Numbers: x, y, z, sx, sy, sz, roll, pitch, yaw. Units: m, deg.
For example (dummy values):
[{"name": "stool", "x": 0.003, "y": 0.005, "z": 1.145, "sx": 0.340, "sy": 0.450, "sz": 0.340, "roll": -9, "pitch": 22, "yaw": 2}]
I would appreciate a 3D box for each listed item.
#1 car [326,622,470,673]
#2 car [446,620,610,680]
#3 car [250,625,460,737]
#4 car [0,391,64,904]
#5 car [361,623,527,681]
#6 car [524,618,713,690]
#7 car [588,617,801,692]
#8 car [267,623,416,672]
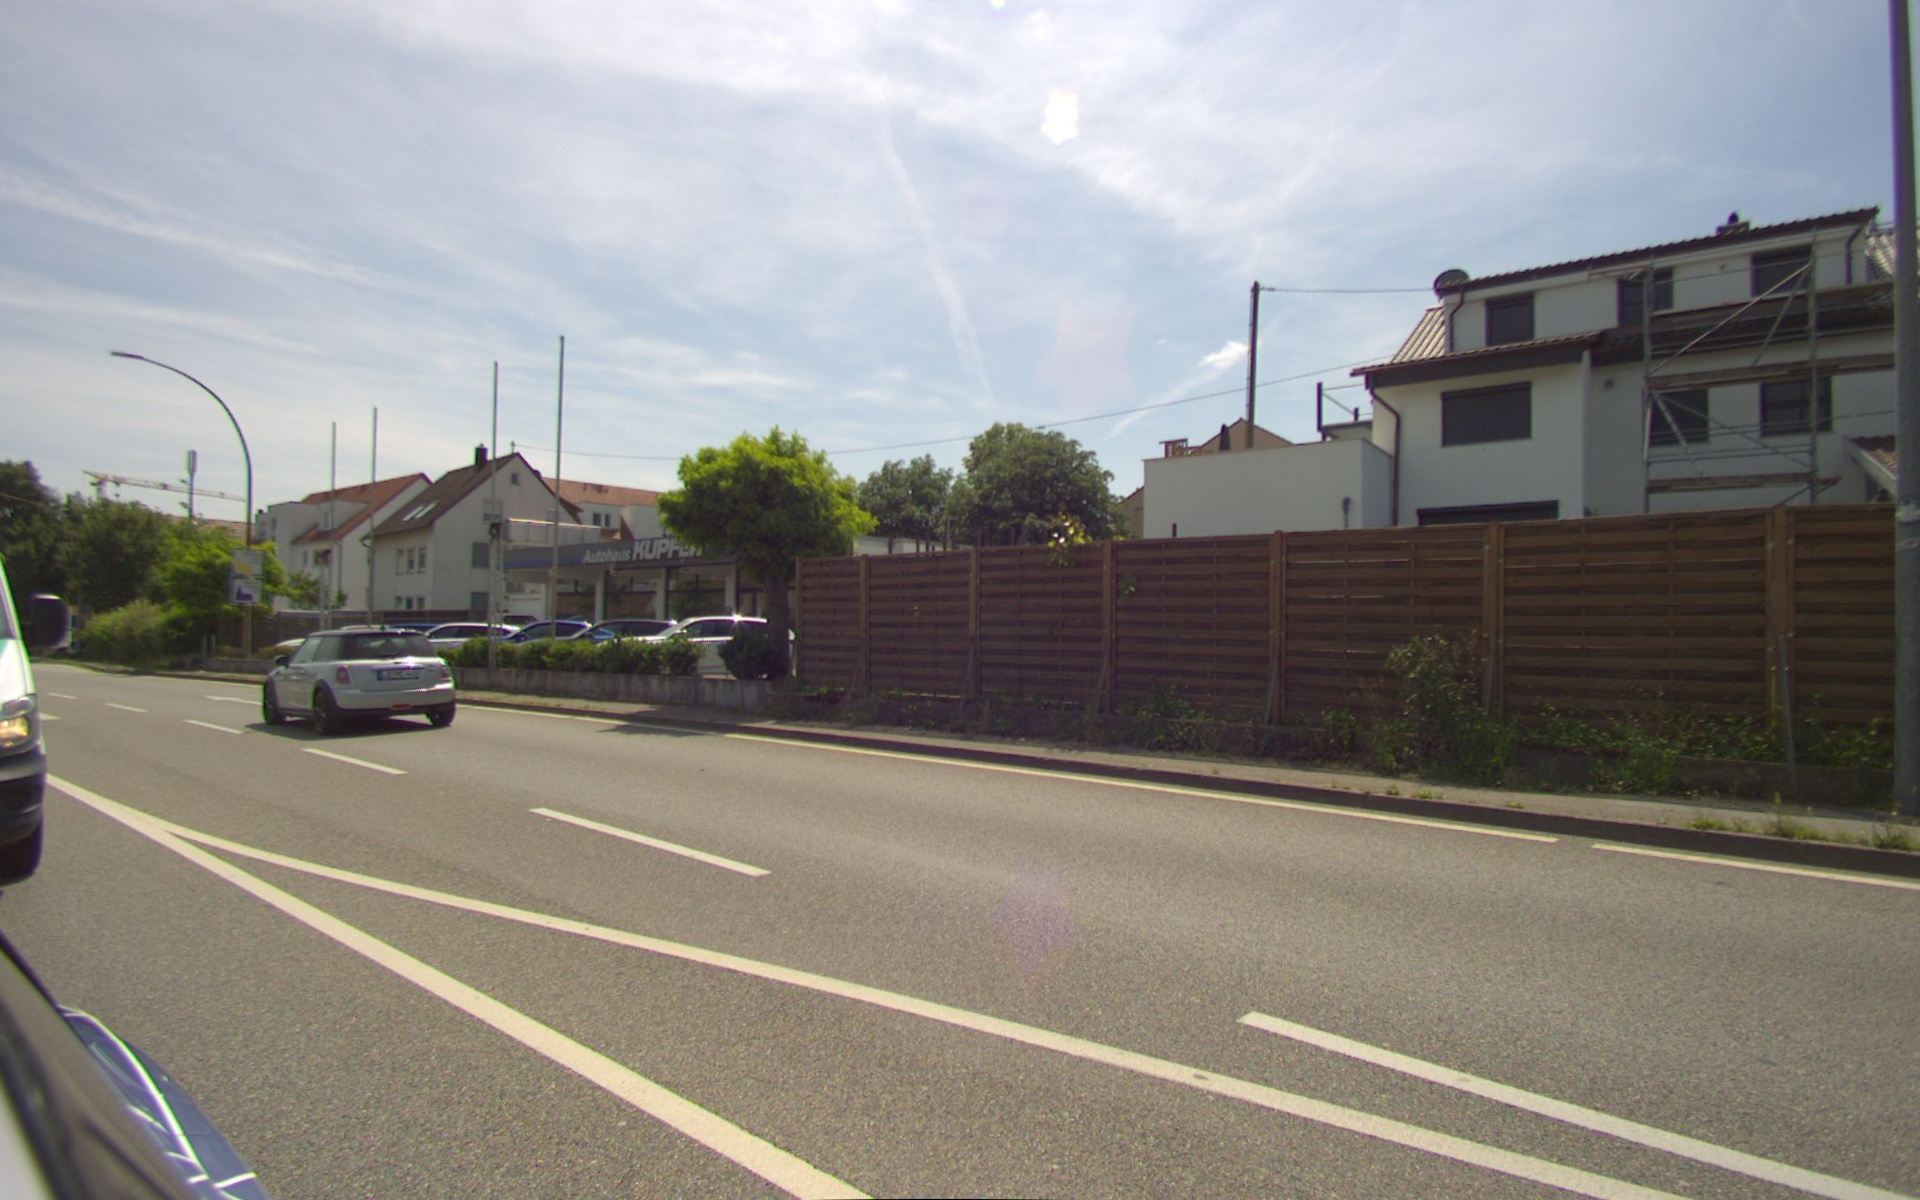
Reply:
[{"name": "car", "x": -18.149, "y": 1.514, "z": 32.895, "sx": 3.930, "sy": 1.475, "sz": 2.006, "roll": -1, "pitch": -1, "yaw": -24}, {"name": "car", "x": -11.655, "y": 1.306, "z": 27.361, "sx": 3.931, "sy": 1.453, "sz": 1.860, "roll": -1, "pitch": -1, "yaw": -25}, {"name": "car", "x": -8.862, "y": 1.093, "z": 14.717, "sx": 3.558, "sy": 1.392, "sz": 1.605, "roll": -2, "pitch": -1, "yaw": 41}, {"name": "car", "x": -7.520, "y": 0.313, "z": 6.393, "sx": 5.628, "sy": 2.619, "sz": 1.953, "roll": -2, "pitch": -1, "yaw": 40}, {"name": "car", "x": -15.167, "y": 1.487, "z": 30.038, "sx": 4.239, "sy": 1.530, "sz": 2.006, "roll": -1, "pitch": -1, "yaw": -23}, {"name": "car", "x": -8.431, "y": 1.272, "z": 25.004, "sx": 4.187, "sy": 1.557, "sz": 1.856, "roll": -1, "pitch": -1, "yaw": -27}, {"name": "car", "x": -5.869, "y": 1.138, "z": 22.372, "sx": 4.264, "sy": 1.471, "sz": 1.861, "roll": 0, "pitch": -1, "yaw": -26}, {"name": "car", "x": -21.467, "y": 1.623, "z": 35.325, "sx": 4.192, "sy": 1.541, "sz": 2.006, "roll": -1, "pitch": -1, "yaw": -24}]
